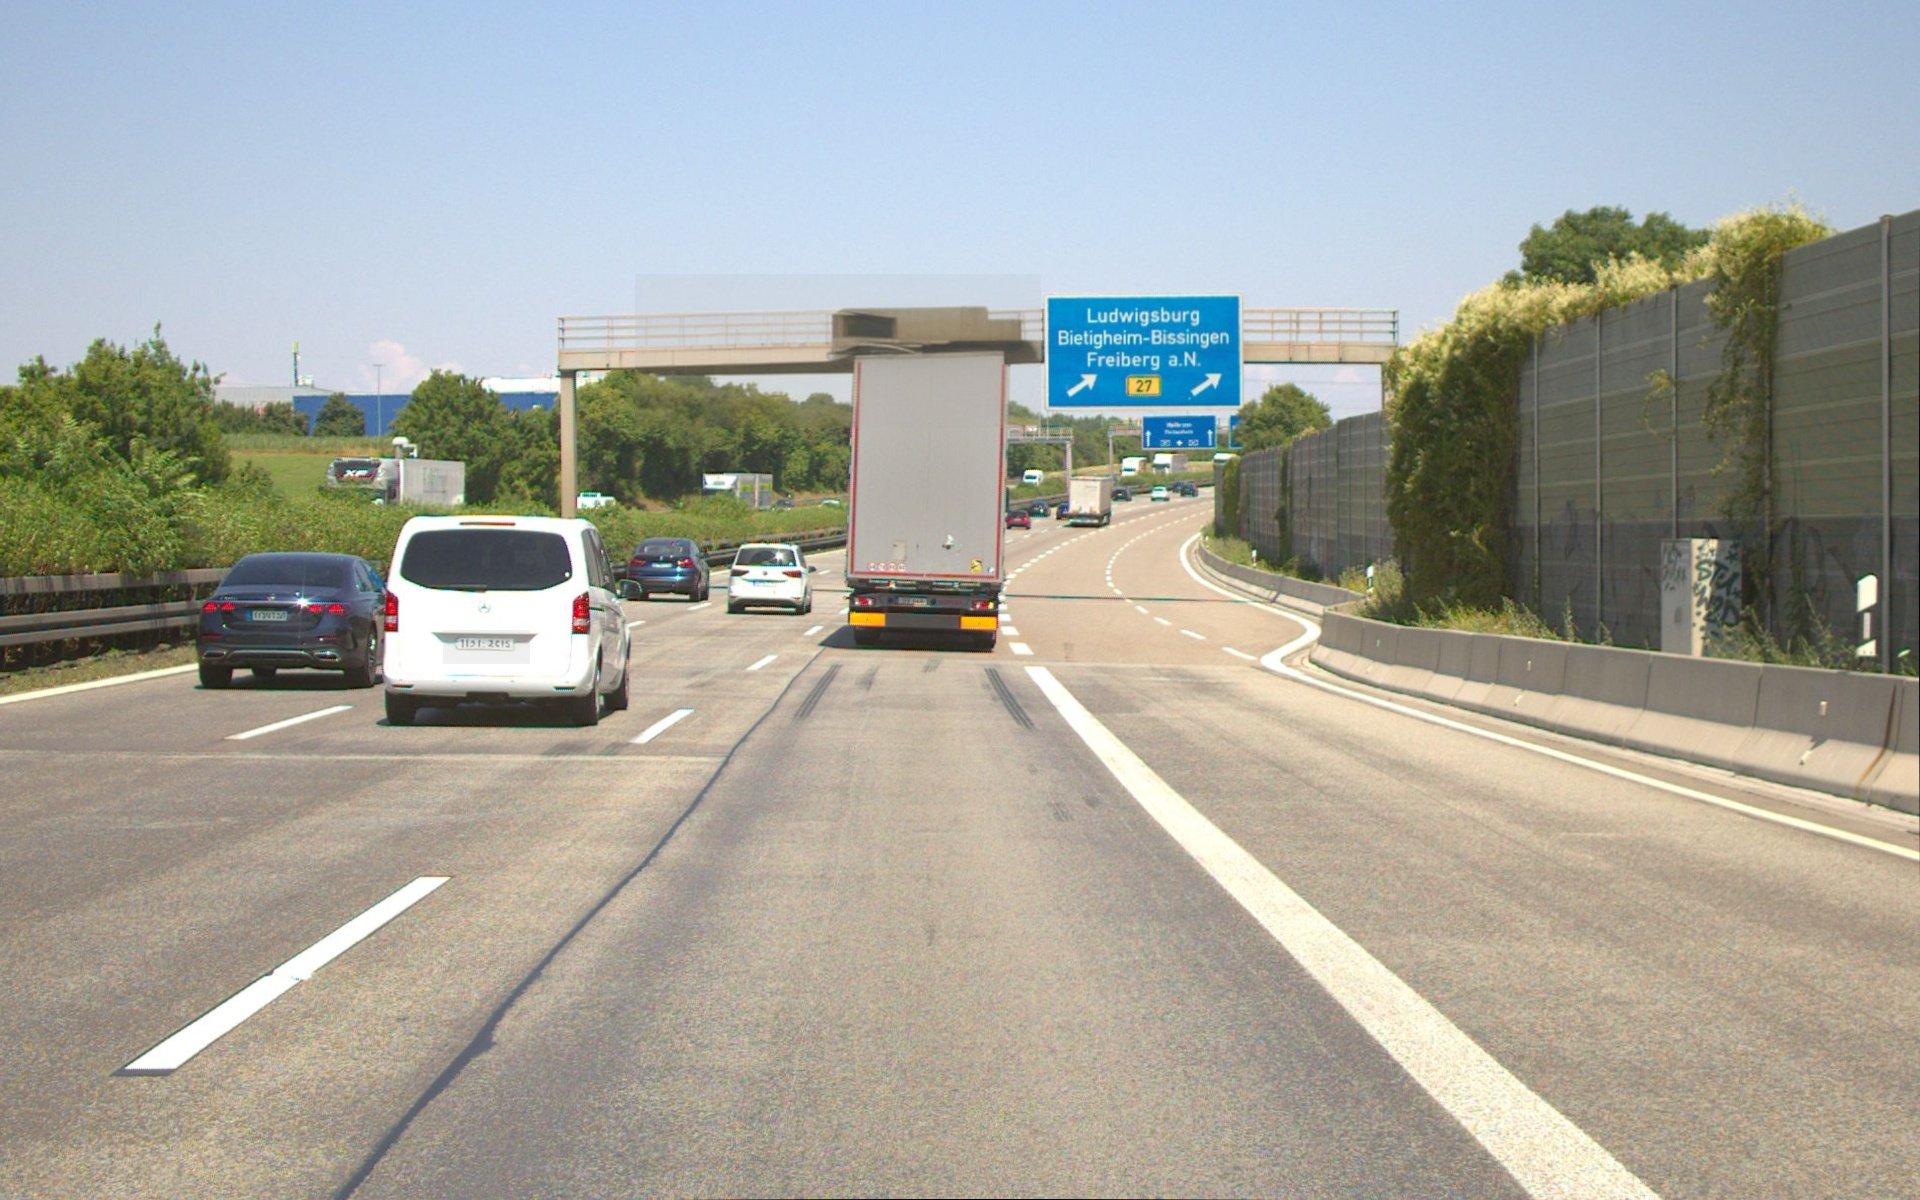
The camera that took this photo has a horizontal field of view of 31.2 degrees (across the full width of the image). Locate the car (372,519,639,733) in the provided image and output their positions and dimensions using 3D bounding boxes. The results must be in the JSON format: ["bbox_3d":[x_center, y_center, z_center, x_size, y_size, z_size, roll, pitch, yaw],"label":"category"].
[{"bbox_3d":[-4.137,0.194,31.964,1.930,1.845,4.692,0,1,-1],"label":"car"}]

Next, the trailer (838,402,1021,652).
[{"bbox_3d":[-0.460,-1.239,60.974,2.928,4.002,12.038,0,1,0],"label":"trailer"}]

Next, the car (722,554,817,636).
[{"bbox_3d":[-4.386,-0.133,79.743,1.904,1.845,4.631,0,1,0],"label":"car"}]

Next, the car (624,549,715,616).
[{"bbox_3d":[-7.528,-0.477,89.512,1.904,1.683,4.631,0,1,1],"label":"car"}]

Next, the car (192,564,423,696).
[{"bbox_3d":[-7.376,0.296,39.310,1.756,1.404,5.040,0,1,-1],"label":"car"}]

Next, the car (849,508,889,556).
[{"bbox_3d":[-4.643,-3.457,175.842,1.993,2.366,4.000,1,0,-1],"label":"car"}]

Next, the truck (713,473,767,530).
[{"bbox_3d":[-15.782,-7.105,246.893,3.001,3.953,10.322,1,2,1],"label":"truck"}]
